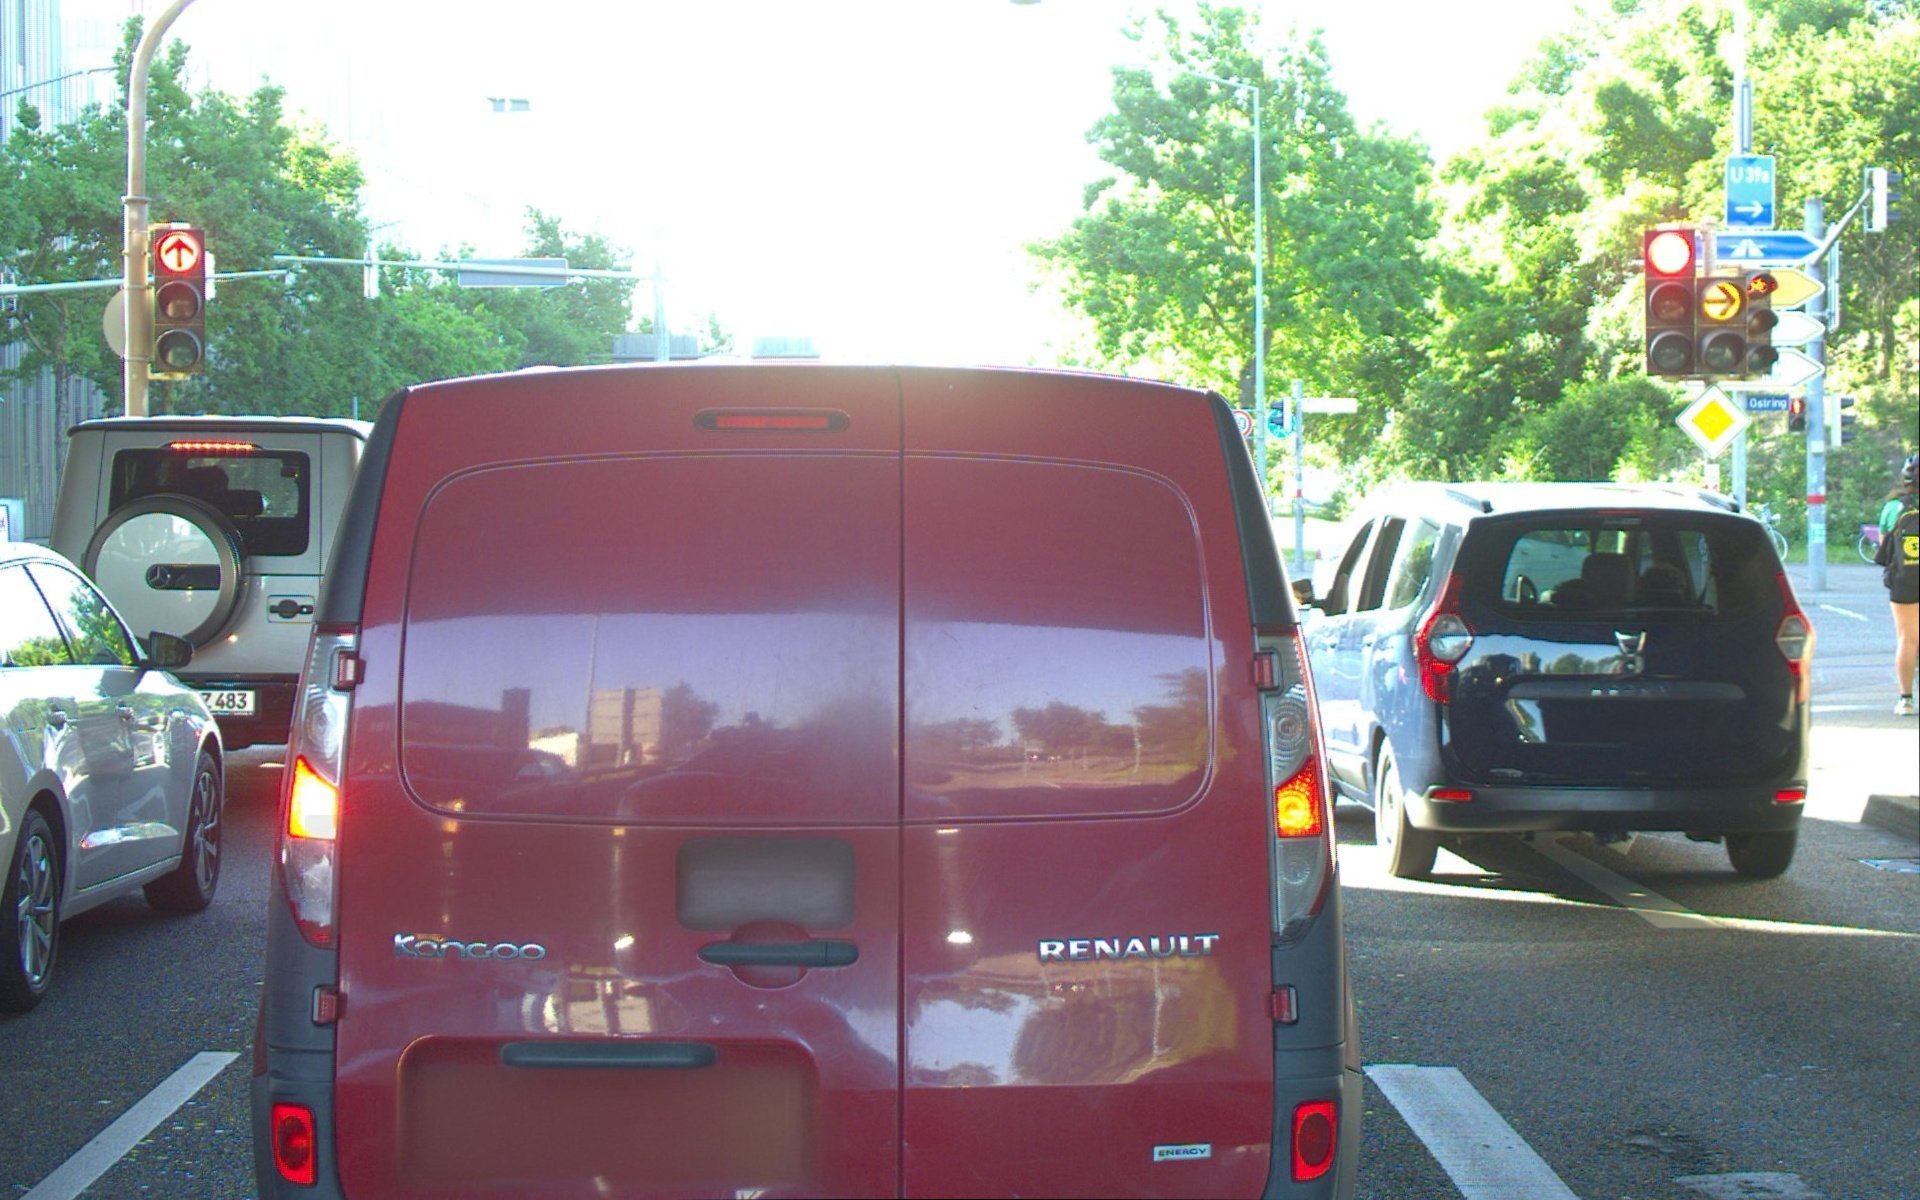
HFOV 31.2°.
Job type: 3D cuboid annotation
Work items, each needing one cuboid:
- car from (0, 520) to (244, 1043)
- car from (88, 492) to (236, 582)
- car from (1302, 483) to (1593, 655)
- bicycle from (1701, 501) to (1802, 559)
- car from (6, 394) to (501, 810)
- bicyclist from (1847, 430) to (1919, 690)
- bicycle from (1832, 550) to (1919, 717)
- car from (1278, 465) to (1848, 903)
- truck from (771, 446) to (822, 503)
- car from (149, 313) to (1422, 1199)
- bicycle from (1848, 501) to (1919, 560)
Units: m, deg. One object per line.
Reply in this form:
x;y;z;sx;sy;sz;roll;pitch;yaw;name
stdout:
-3.642;0.470;11.407;1.813;1.433;3.731;0;2;-1;car
-16.569;-1.338;71.622;1.825;1.731;4.629;-2;2;1;car
4.765;-0.319;33.123;1.882;1.538;4.189;0;1;21;car
14.354;-1.267;62.377;1.745;1.020;0.593;1;0;9;bicycle
-3.711;-0.012;18.872;1.801;1.982;4.589;1;1;-1;car
6.045;-0.249;21.753;0.591;1.608;0.942;1;0;-1;bicyclist
6.054;0.198;21.762;0.591;1.020;1.750;1;1;-1;bicycle
2.530;0.290;15.361;1.719;1.700;3.982;0;1;-2;car
-9.159;-7.037;193.214;2.409;3.016;6.657;-2;2;0;truck
-0.275;0.477;6.924;1.805;1.788;4.000;1;1;-1;car
16.664;-1.221;60.915;1.745;1.020;0.593;1;0;9;bicycle
